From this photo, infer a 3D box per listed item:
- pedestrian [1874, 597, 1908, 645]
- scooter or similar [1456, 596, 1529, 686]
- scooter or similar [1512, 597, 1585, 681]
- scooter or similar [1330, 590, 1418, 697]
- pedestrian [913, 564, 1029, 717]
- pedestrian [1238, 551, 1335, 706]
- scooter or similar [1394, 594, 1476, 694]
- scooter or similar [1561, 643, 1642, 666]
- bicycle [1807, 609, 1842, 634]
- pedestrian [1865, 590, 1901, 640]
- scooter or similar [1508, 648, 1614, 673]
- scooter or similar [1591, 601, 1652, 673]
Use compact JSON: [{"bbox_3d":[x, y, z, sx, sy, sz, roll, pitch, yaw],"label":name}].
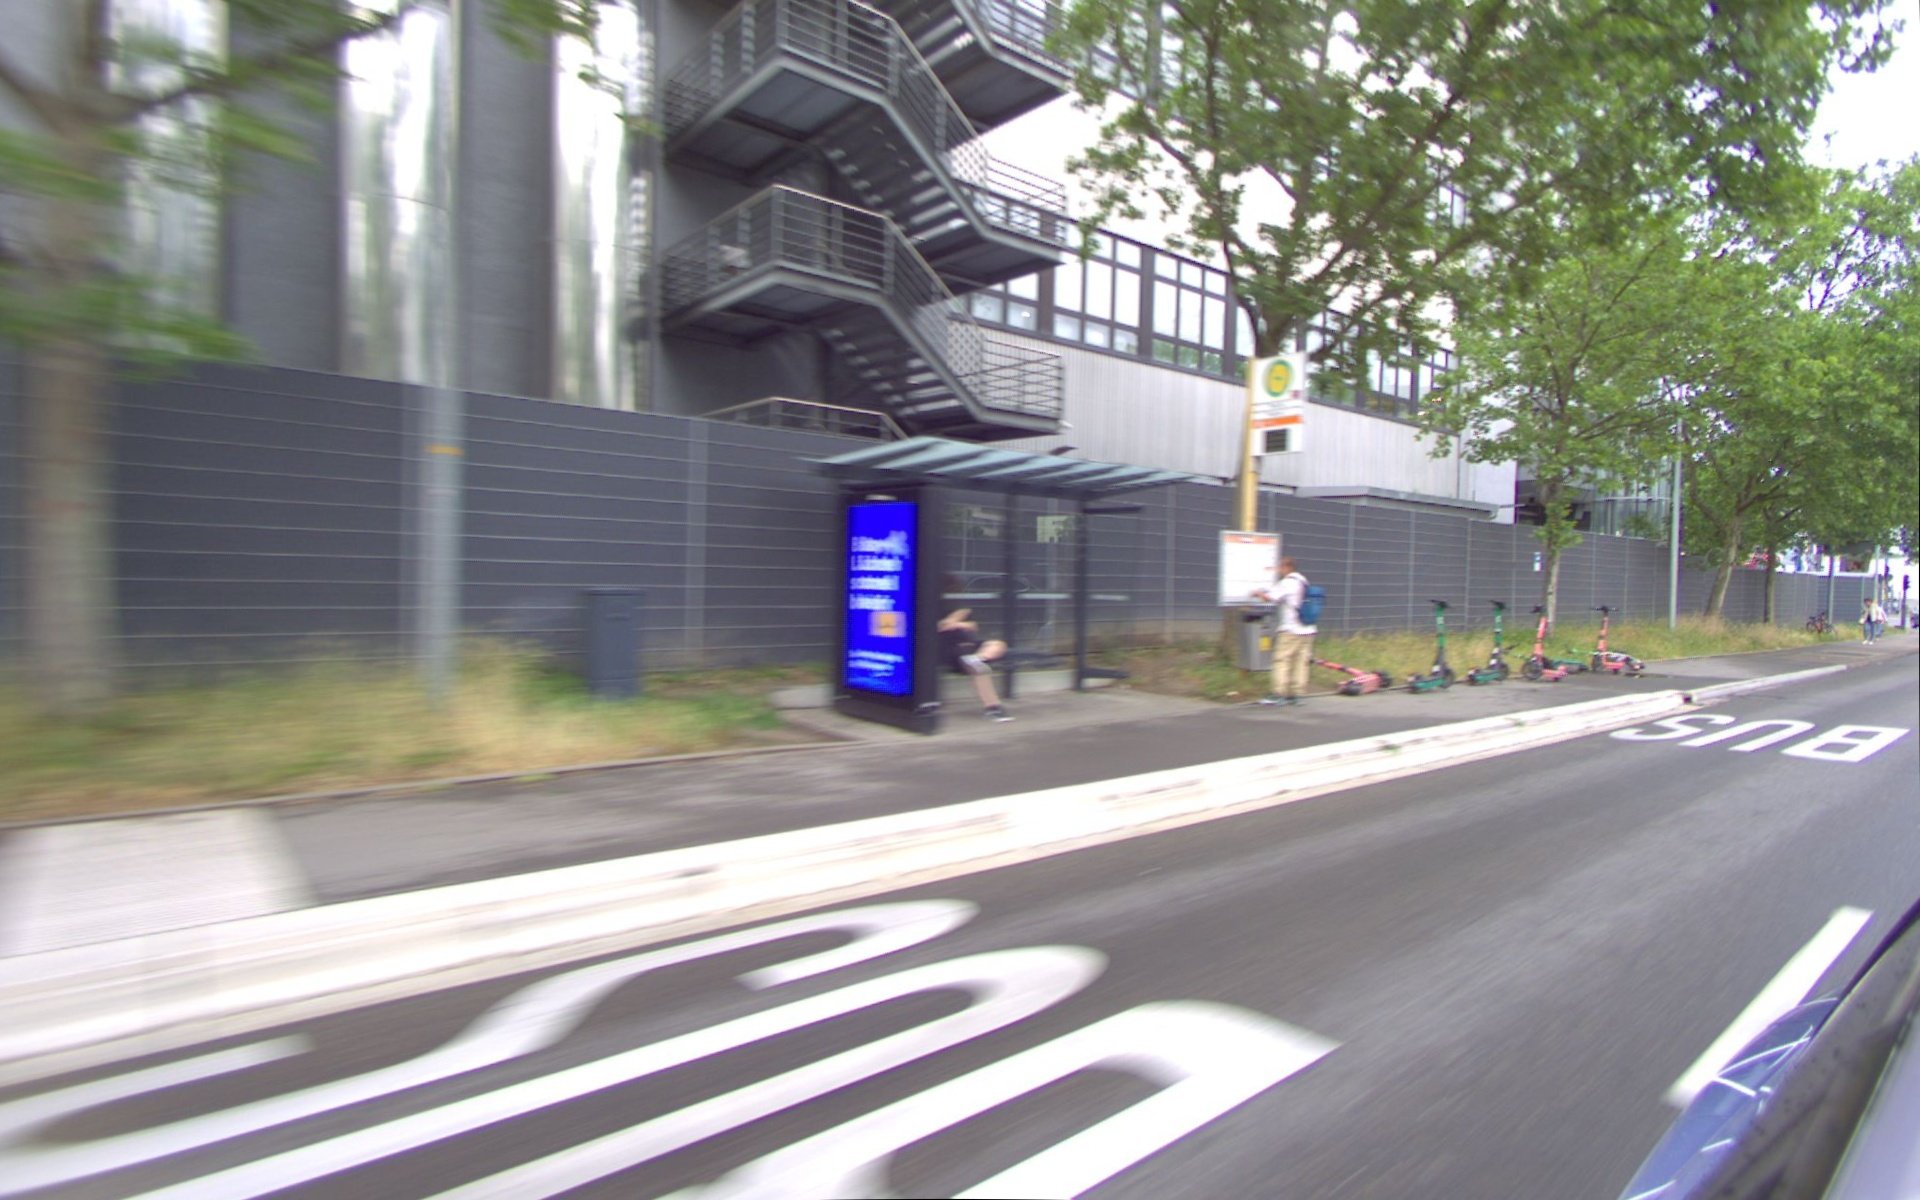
[{"bbox_3d":[34.230,0.771,37.224,0.818,1.687,0.723,0,4,-41],"label":"pedestrian"},{"bbox_3d":[8.097,0.607,15.378,1.276,1.311,0.437,1,1,-37],"label":"scooter or similar"},{"bbox_3d":[9.626,0.627,16.540,1.340,1.311,0.438,1,1,-33],"label":"scooter or similar"},{"bbox_3d":[5.395,0.544,13.162,1.276,1.311,0.437,1,1,-37],"label":"scooter or similar"},{"bbox_3d":[0.104,0.372,10.101,0.686,1.433,0.932,1,1,-40],"label":"pedestrian"},{"bbox_3d":[3.813,0.303,11.825,0.716,1.731,0.778,1,1,-40],"label":"pedestrian"},{"bbox_3d":[6.555,0.589,13.944,1.276,1.311,0.437,1,1,-37],"label":"scooter or similar"},{"bbox_3d":[12.892,1.097,20.384,1.169,0.314,1.194,2,2,22],"label":"scooter or similar"},{"bbox_3d":[32.860,0.797,38.451,1.872,0.886,0.727,0,1,-41],"label":"bicycle"},{"bbox_3d":[31.816,0.502,34.876,0.818,1.639,0.723,0,4,-41],"label":"pedestrian"},{"bbox_3d":[10.915,1.093,18.422,1.231,0.349,1.104,1,2,-16],"label":"scooter or similar"},{"bbox_3d":[12.396,0.676,18.967,1.275,1.301,0.438,1,1,-33],"label":"scooter or similar"}]
